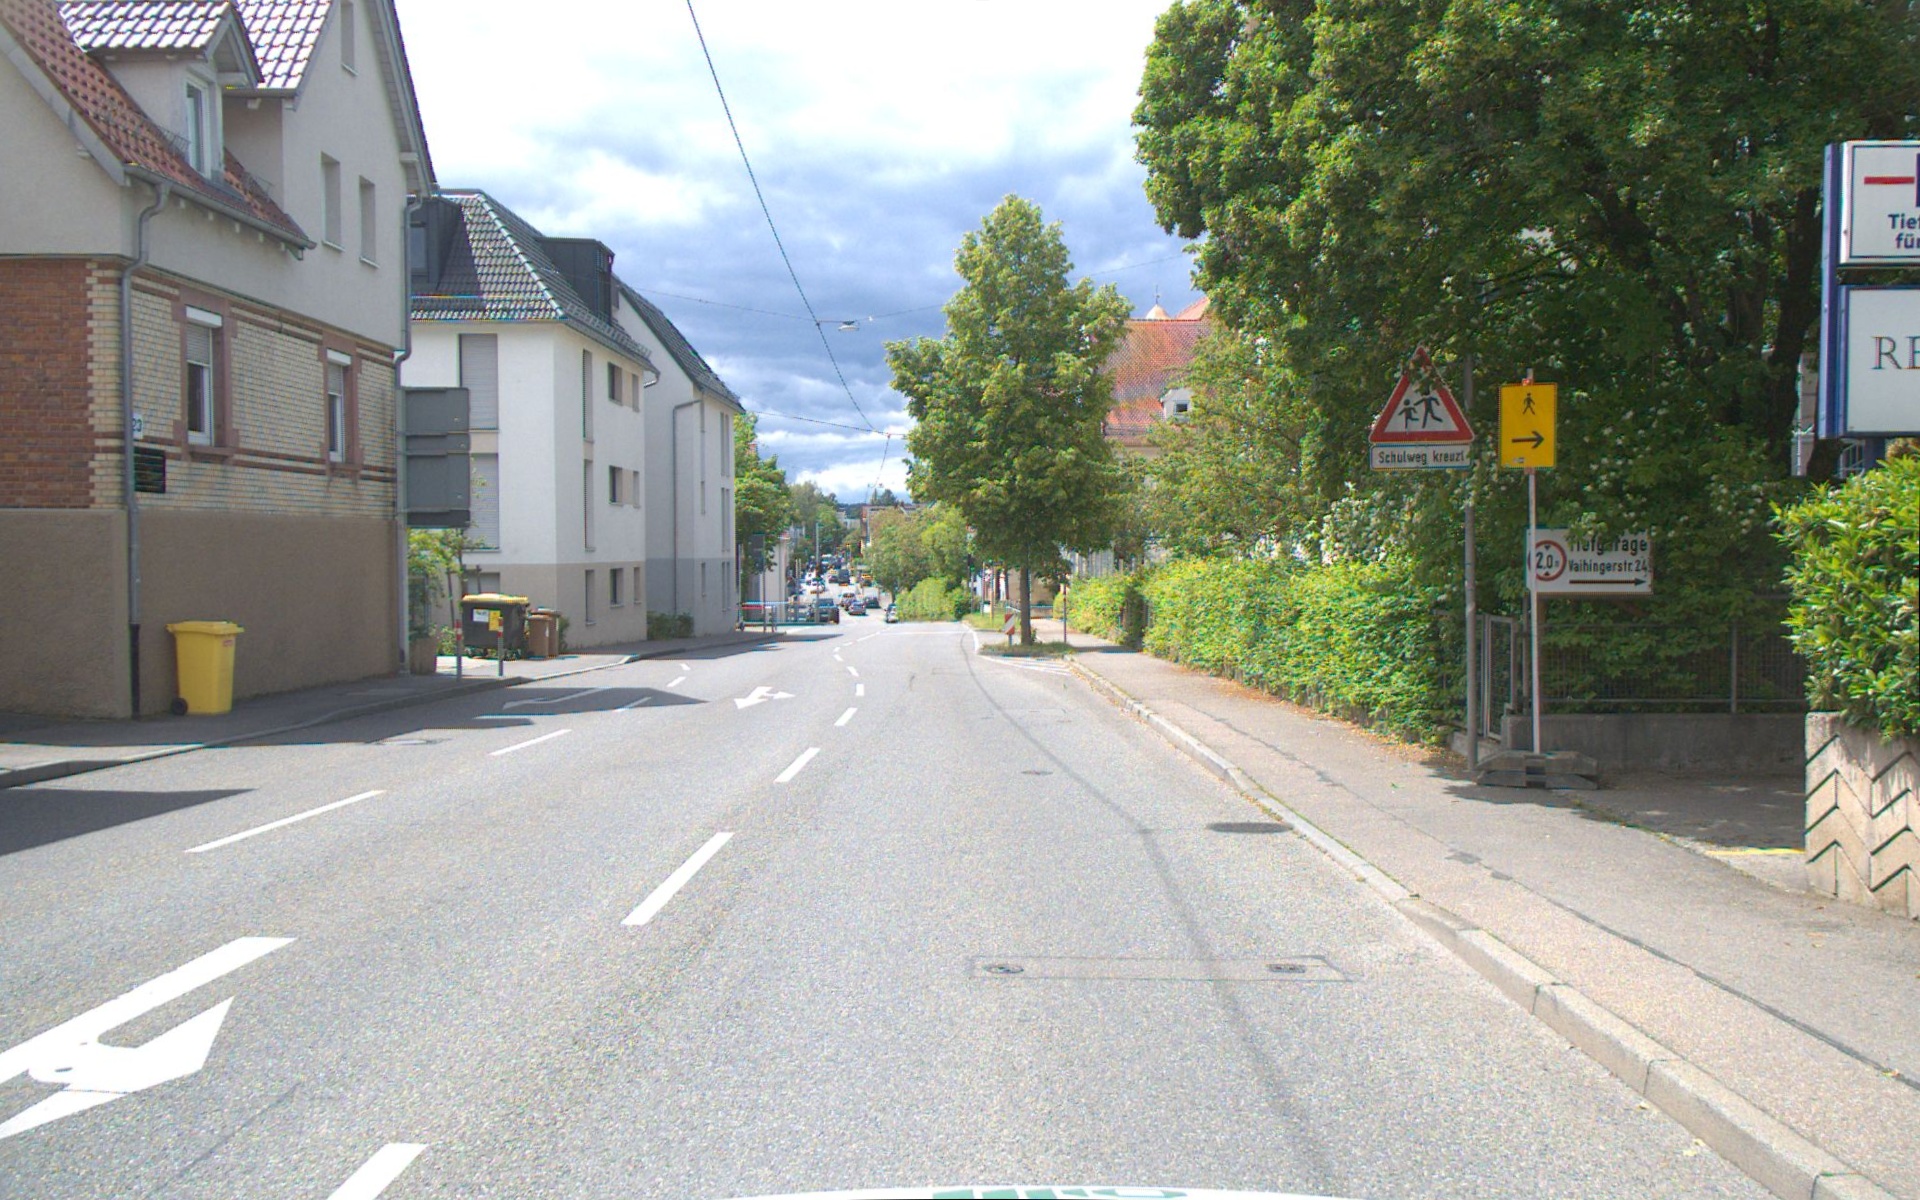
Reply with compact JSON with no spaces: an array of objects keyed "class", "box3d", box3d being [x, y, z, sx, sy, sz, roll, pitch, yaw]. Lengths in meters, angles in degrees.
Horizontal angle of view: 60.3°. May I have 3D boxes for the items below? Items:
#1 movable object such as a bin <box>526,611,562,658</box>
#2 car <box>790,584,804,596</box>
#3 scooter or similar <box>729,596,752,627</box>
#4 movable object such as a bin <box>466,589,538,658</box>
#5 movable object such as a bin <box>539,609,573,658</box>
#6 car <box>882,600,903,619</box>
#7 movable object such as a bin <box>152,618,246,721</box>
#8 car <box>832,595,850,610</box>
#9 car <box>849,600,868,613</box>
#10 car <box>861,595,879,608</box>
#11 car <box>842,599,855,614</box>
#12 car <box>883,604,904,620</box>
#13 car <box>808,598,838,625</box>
[{"class":"movable object such as a bin","box3d":[-9.255,0.756,36.811,0.627,1.018,0.657,0,0,-1]},{"class":"car","box3d":[-24.097,-1.488,244.285,1.835,1.668,3.997,1,0,-3]},{"class":"scooter or similar","box3d":[-8.975,0.474,67.693,0.484,1.283,1.294,-1,0,-30]},{"class":"movable object such as a bin","box3d":[-9.974,0.497,36.059,1.308,1.471,1.170,0,0,-4]},{"class":"movable object such as a bin","box3d":[-9.173,0.747,37.532,0.628,1.094,0.660,0,0,-3]},{"class":"car","box3d":[-6.737,0.949,164.972,1.808,1.798,4.510,0,0,-5]},{"class":"movable object such as a bin","box3d":[-9.007,0.808,19.597,0.749,1.182,0.802,0,0,-3]},{"class":"car","box3d":[-15.001,0.309,208.430,1.803,1.894,3.841,0,0,-10]},{"class":"car","box3d":[-11.646,0.745,189.545,1.713,1.441,3.988,-1,0,-12]},{"class":"car","box3d":[-11.214,0.209,205.271,1.721,1.394,3.990,0,3,-11]},{"class":"car","box3d":[-13.364,0.761,198.335,1.250,1.553,3.044,-1,3,-10]},{"class":"car","box3d":[-6.403,1.183,158.862,1.751,1.535,4.359,0,0,-5]},{"class":"car","box3d":[-8.439,0.682,102.109,1.760,1.638,4.642,0,0,-3]}]
